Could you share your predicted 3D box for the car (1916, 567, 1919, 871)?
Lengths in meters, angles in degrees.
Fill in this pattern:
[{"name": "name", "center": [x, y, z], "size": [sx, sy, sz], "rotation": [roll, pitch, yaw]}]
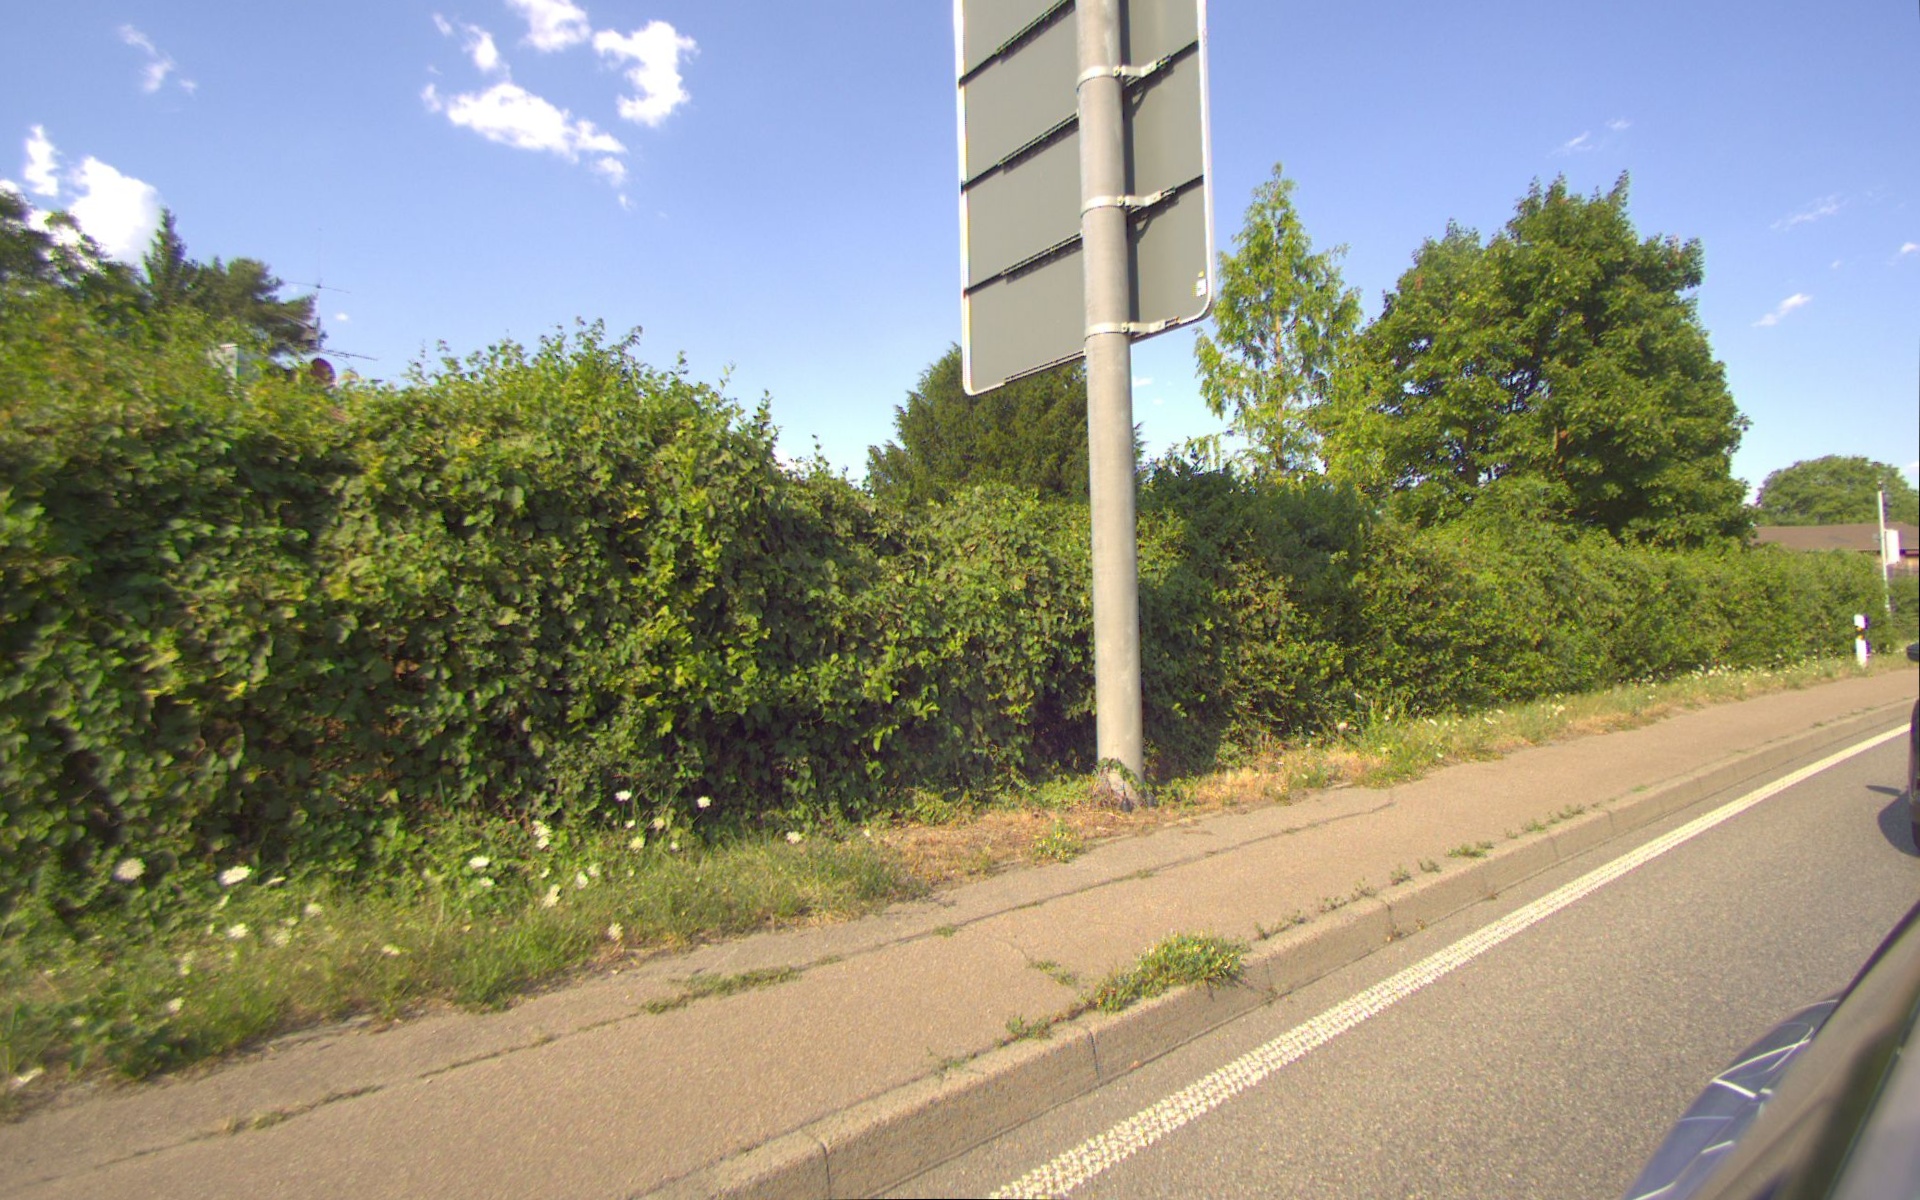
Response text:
[{"name": "car", "center": [7.198, 0.593, 6.017], "size": [3.932, 1.662, 1.864], "rotation": [-2, 2, -42]}]
